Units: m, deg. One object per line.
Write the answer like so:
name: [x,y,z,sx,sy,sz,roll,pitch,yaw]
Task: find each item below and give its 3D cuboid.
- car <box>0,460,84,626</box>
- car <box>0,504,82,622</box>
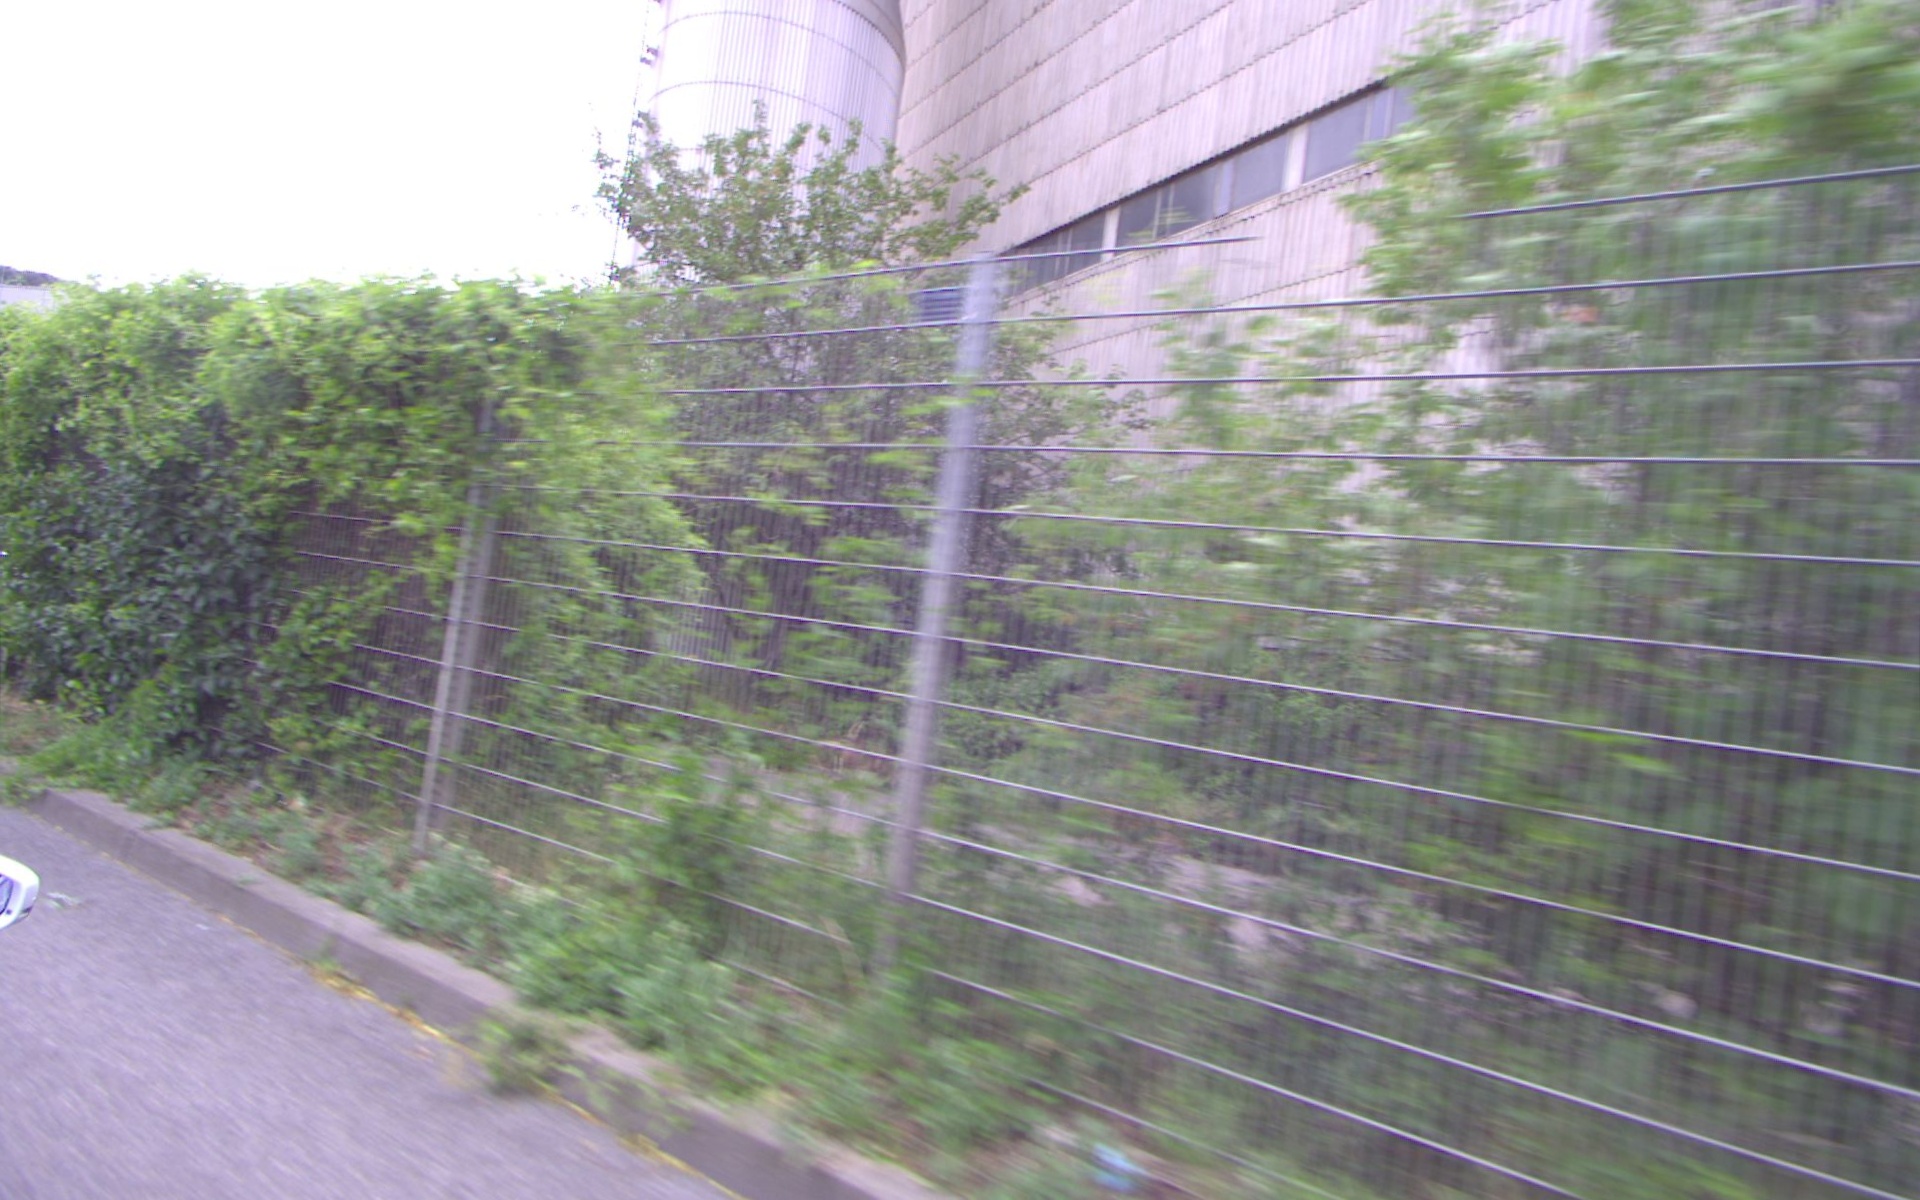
car: [-14.371,-0.935,13.844,4.766,2.036,1.998,5,-3,32]
car: [-22.140,-1.110,20.542,6.062,2.287,2.000,8,-3,-7]
